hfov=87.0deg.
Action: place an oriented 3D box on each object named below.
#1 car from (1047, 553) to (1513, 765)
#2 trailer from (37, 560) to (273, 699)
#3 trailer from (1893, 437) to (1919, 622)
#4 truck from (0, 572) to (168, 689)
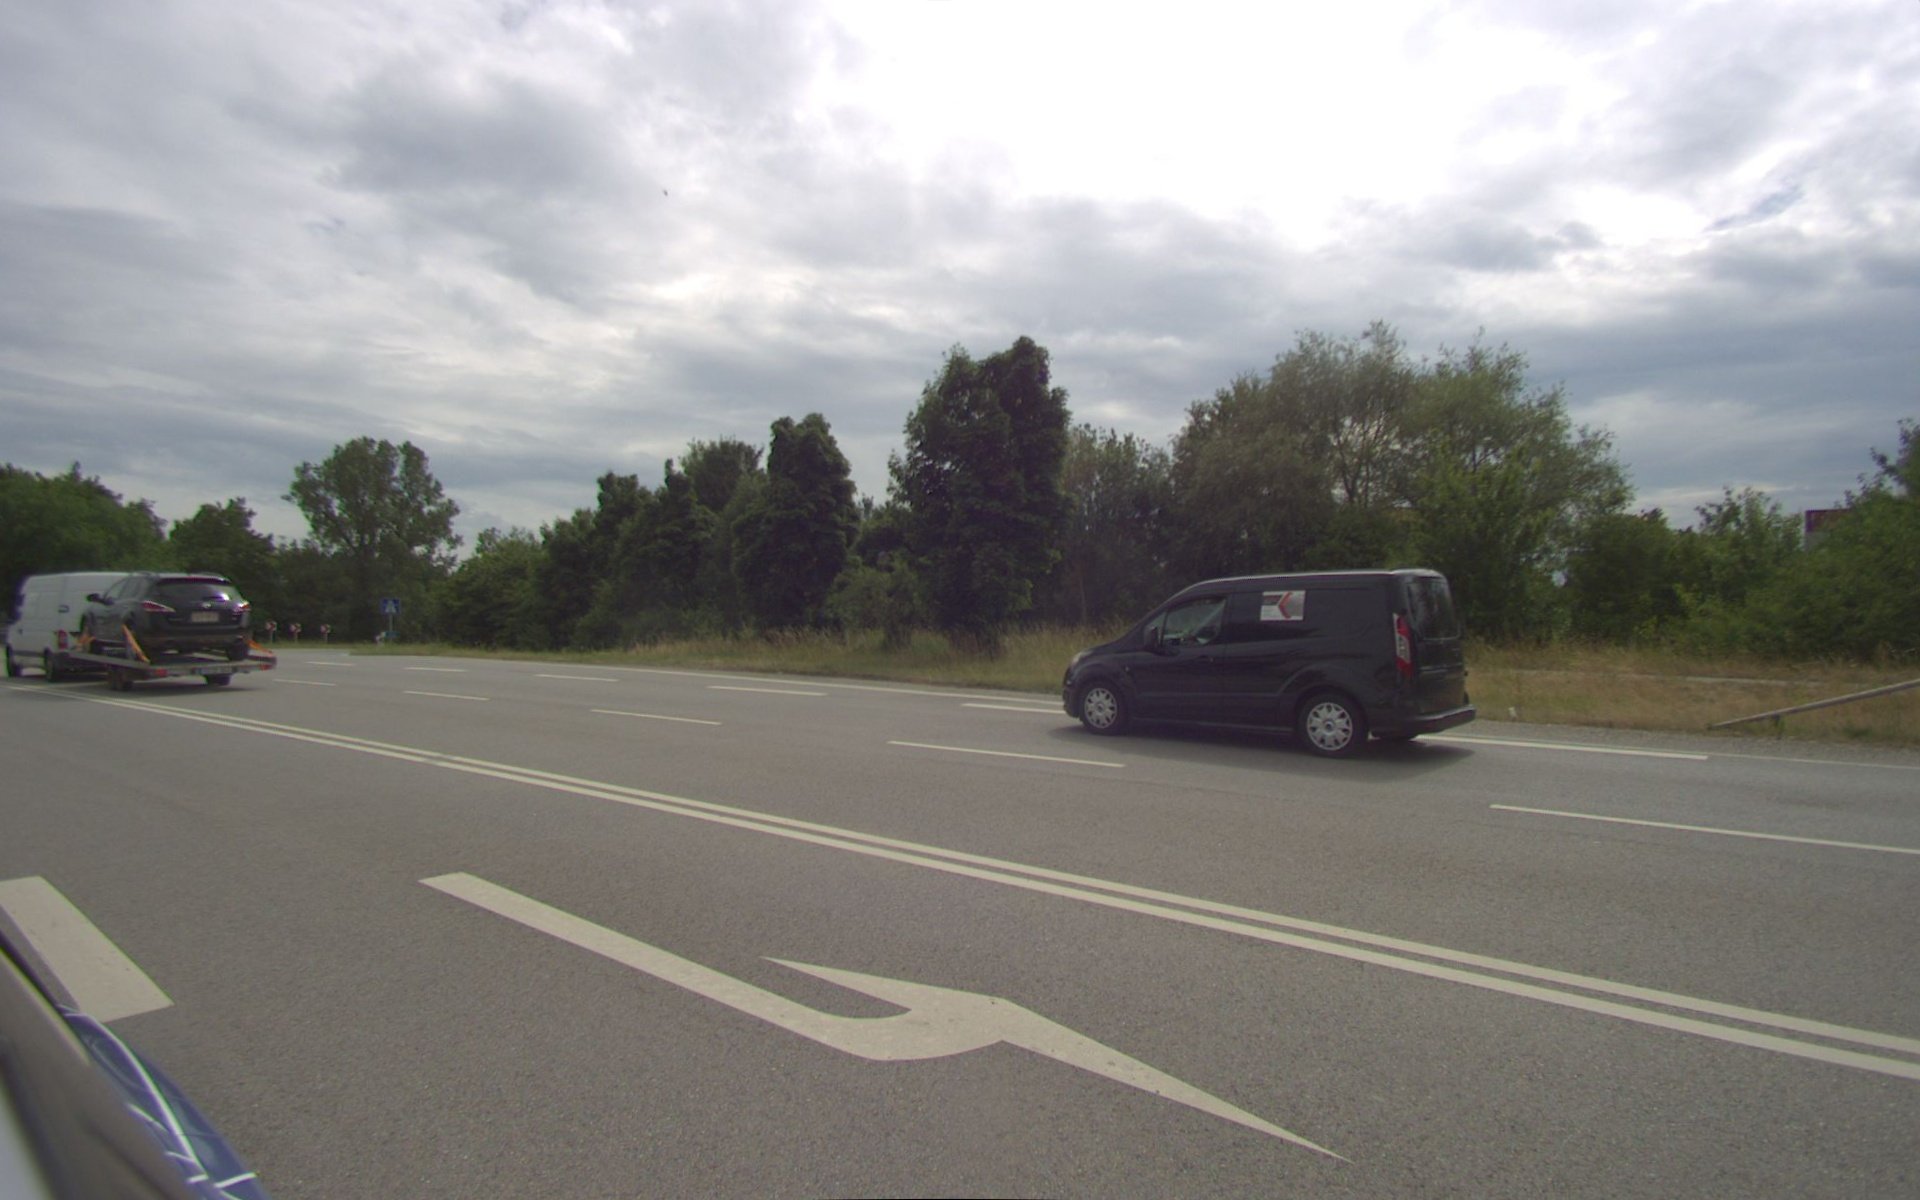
[{"bbox_3d":[3.255,0.546,10.859,4.320,1.811,1.971,-2,-1,44],"label":"car"},{"bbox_3d":[-16.697,0.587,20.812,6.951,2.463,2.005,-1,0,36],"label":"trailer"},{"bbox_3d":[30.355,-2.011,25.924,8.924,5.034,2.786,-1,0,23],"label":"trailer"},{"bbox_3d":[-20.629,0.688,23.677,5.014,2.463,2.005,-1,0,36],"label":"truck"}]
